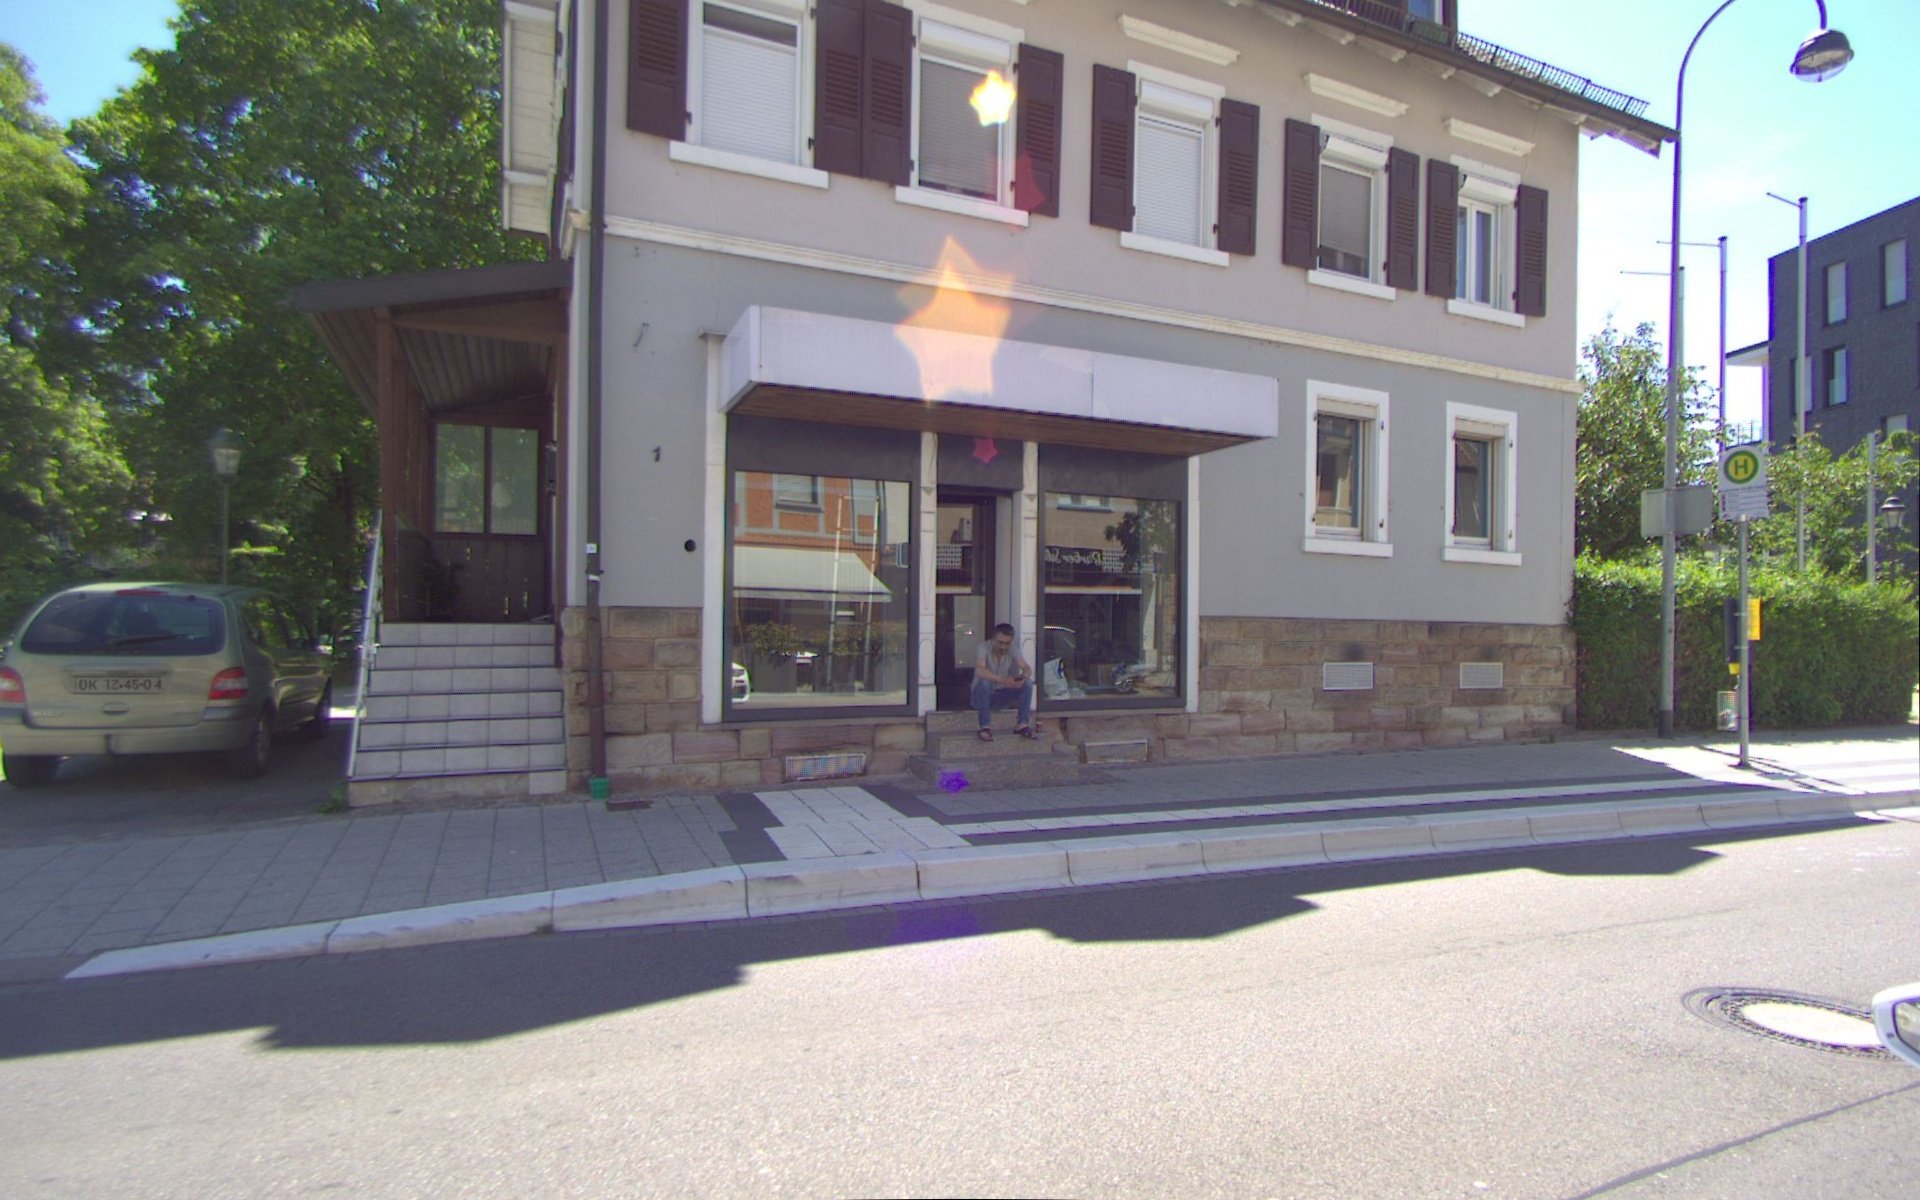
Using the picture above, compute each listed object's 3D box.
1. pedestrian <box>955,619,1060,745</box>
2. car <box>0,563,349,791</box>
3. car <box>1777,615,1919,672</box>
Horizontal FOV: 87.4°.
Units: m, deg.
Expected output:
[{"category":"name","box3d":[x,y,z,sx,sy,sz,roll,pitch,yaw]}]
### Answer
[{"category":"pedestrian","box3d":[0.420,0.710,9.032,0.691,1.068,0.667,1,-1,-28]},{"category":"car","box3d":[-7.119,0.575,9.466,1.733,1.662,3.978,0,0,-23]},{"category":"car","box3d":[27.105,1.272,29.737,4.083,1.590,2.001,1,-1,9]}]
